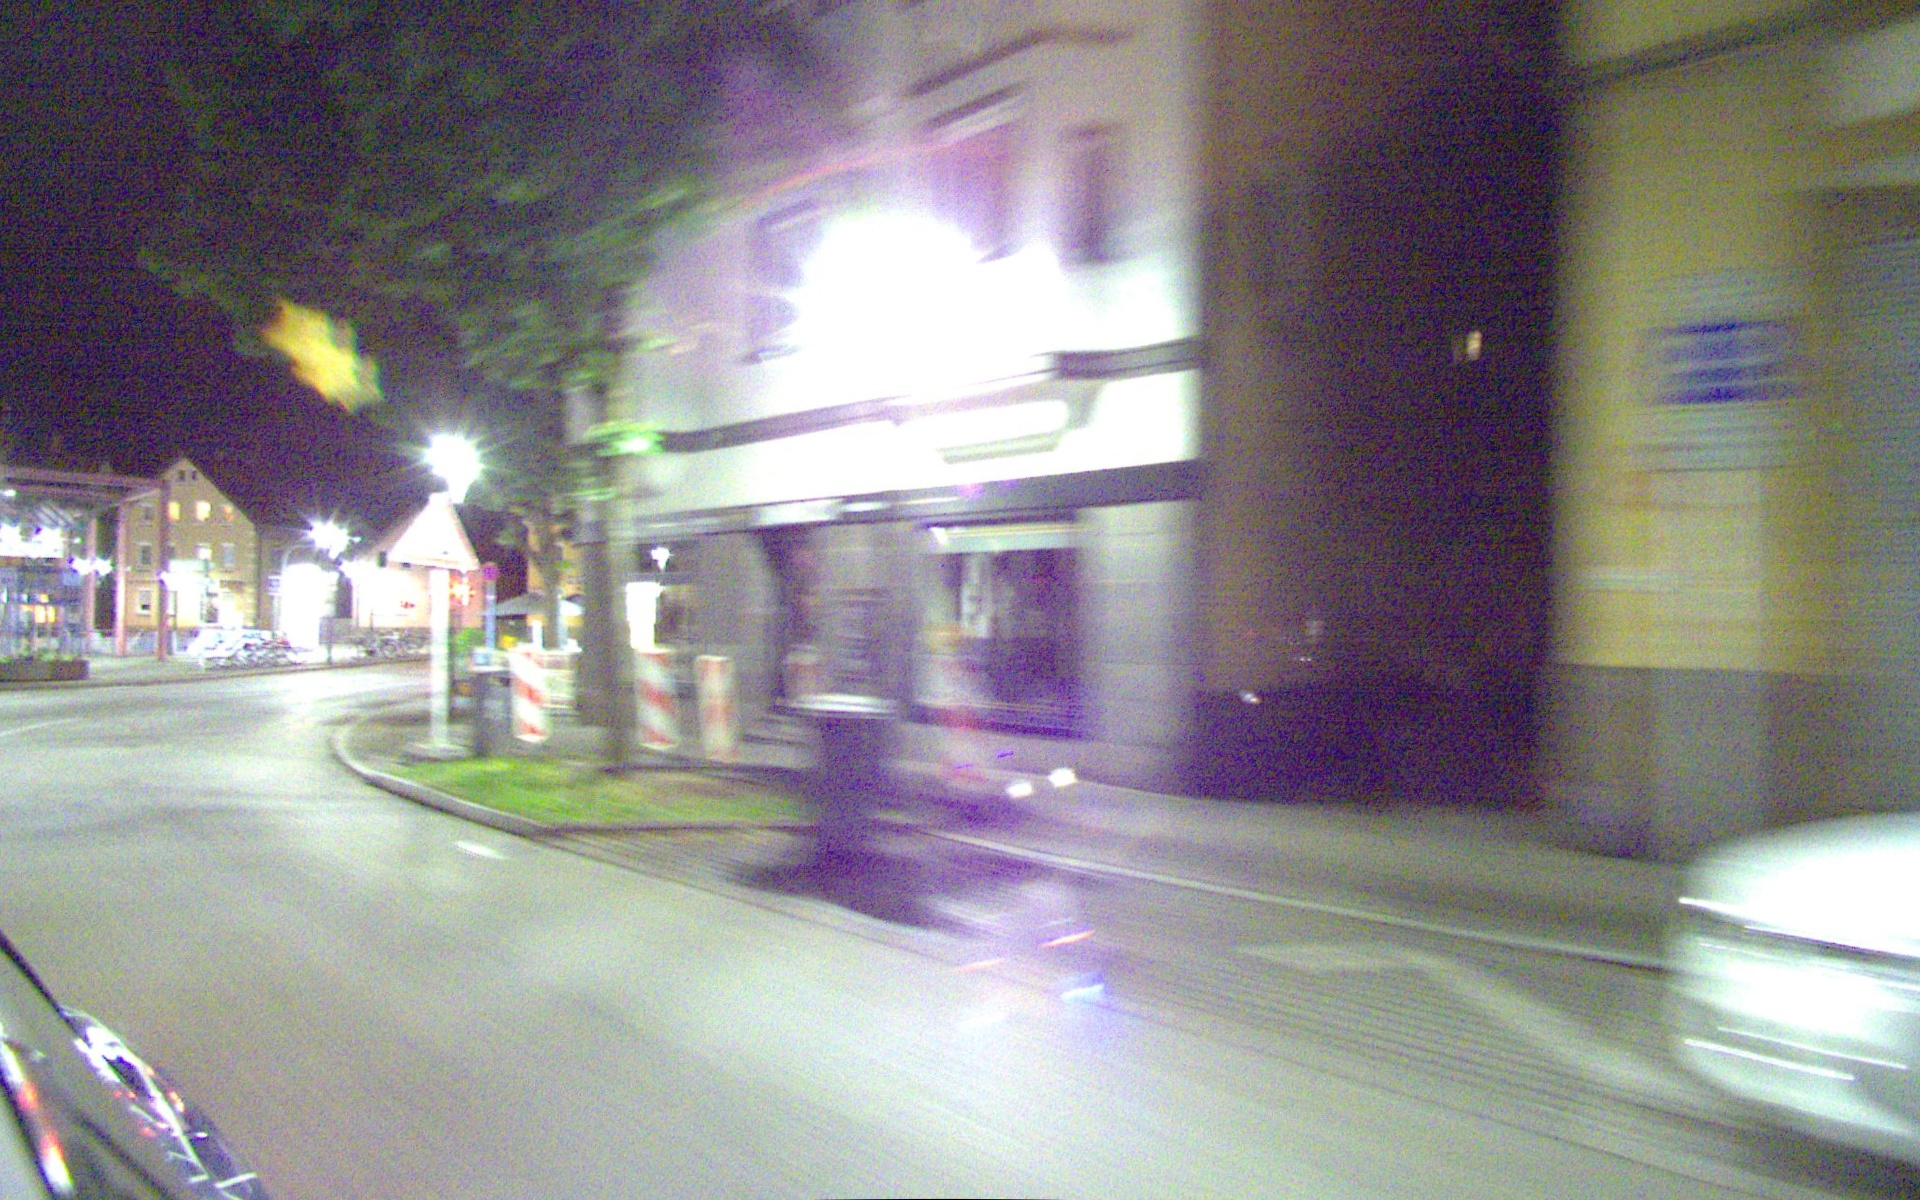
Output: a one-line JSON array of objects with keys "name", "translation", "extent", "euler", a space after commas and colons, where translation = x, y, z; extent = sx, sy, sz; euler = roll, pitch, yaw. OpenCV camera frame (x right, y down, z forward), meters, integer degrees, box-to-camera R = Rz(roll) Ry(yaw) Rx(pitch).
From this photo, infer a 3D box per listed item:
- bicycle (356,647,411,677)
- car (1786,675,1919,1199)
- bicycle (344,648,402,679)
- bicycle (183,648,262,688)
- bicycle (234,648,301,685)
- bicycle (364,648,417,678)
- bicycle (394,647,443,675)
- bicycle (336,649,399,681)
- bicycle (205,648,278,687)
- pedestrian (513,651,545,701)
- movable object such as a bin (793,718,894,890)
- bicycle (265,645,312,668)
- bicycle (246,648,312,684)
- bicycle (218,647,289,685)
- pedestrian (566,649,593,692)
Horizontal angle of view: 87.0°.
[{"name": "bicycle", "translation": [-23.167, 2.489, 40.683], "extent": [1.747, 1.149, 0.688], "euler": [1, -3, -6]}, {"name": "car", "translation": [4.665, 0.966, 1.802], "extent": [4.879, 1.461, 1.819], "euler": [-1, -2, 41]}, {"name": "bicycle", "translation": [-22.432, 2.427, 38.708], "extent": [1.765, 1.143, 0.630], "euler": [1, -3, -8]}, {"name": "bicycle", "translation": [-22.366, 2.057, 30.726], "extent": [1.760, 1.160, 0.761], "euler": [1, -3, -7]}, {"name": "bicycle", "translation": [-22.565, 2.153, 32.987], "extent": [1.752, 1.160, 0.582], "euler": [1, -3, -1]}, {"name": "bicycle", "translation": [-22.276, 2.462, 39.610], "extent": [1.634, 1.143, 0.643], "euler": [1, -3, -6]}, {"name": "bicycle", "translation": [-22.851, 2.561, 42.730], "extent": [1.635, 1.149, 0.829], "euler": [1, -3, -6]}, {"name": "bicycle", "translation": [-21.934, 2.394, 37.485], "extent": [1.841, 1.143, 0.726], "euler": [1, -3, -8]}, {"name": "bicycle", "translation": [-22.401, 2.104, 31.565], "extent": [1.749, 1.160, 0.615], "euler": [1, -3, -7]}, {"name": "pedestrian", "translation": [-12.136, 2.138, 28.509], "extent": [0.667, 1.389, 0.578], "euler": [1, -3, -10]}, {"name": "movable object such as a bin", "translation": [-0.794, 1.388, 7.041], "extent": [0.616, 1.057, 0.689], "euler": [0, -1, 0]}, {"name": "bicycle", "translation": [-33.024, 2.778, 49.805], "extent": [0.648, 1.136, 1.783], "euler": [-1, -3, 33]}, {"name": "bicycle", "translation": [-22.605, 2.202, 33.607], "extent": [1.752, 1.160, 0.582], "euler": [1, -3, -1]}, {"name": "bicycle", "translation": [-22.521, 2.106, 32.285], "extent": [1.749, 1.160, 0.583], "euler": [1, -3, -7]}, {"name": "pedestrian", "translation": [-10.638, 1.967, 28.327], "extent": [0.567, 1.173, 0.679], "euler": [1, -3, -10]}]
